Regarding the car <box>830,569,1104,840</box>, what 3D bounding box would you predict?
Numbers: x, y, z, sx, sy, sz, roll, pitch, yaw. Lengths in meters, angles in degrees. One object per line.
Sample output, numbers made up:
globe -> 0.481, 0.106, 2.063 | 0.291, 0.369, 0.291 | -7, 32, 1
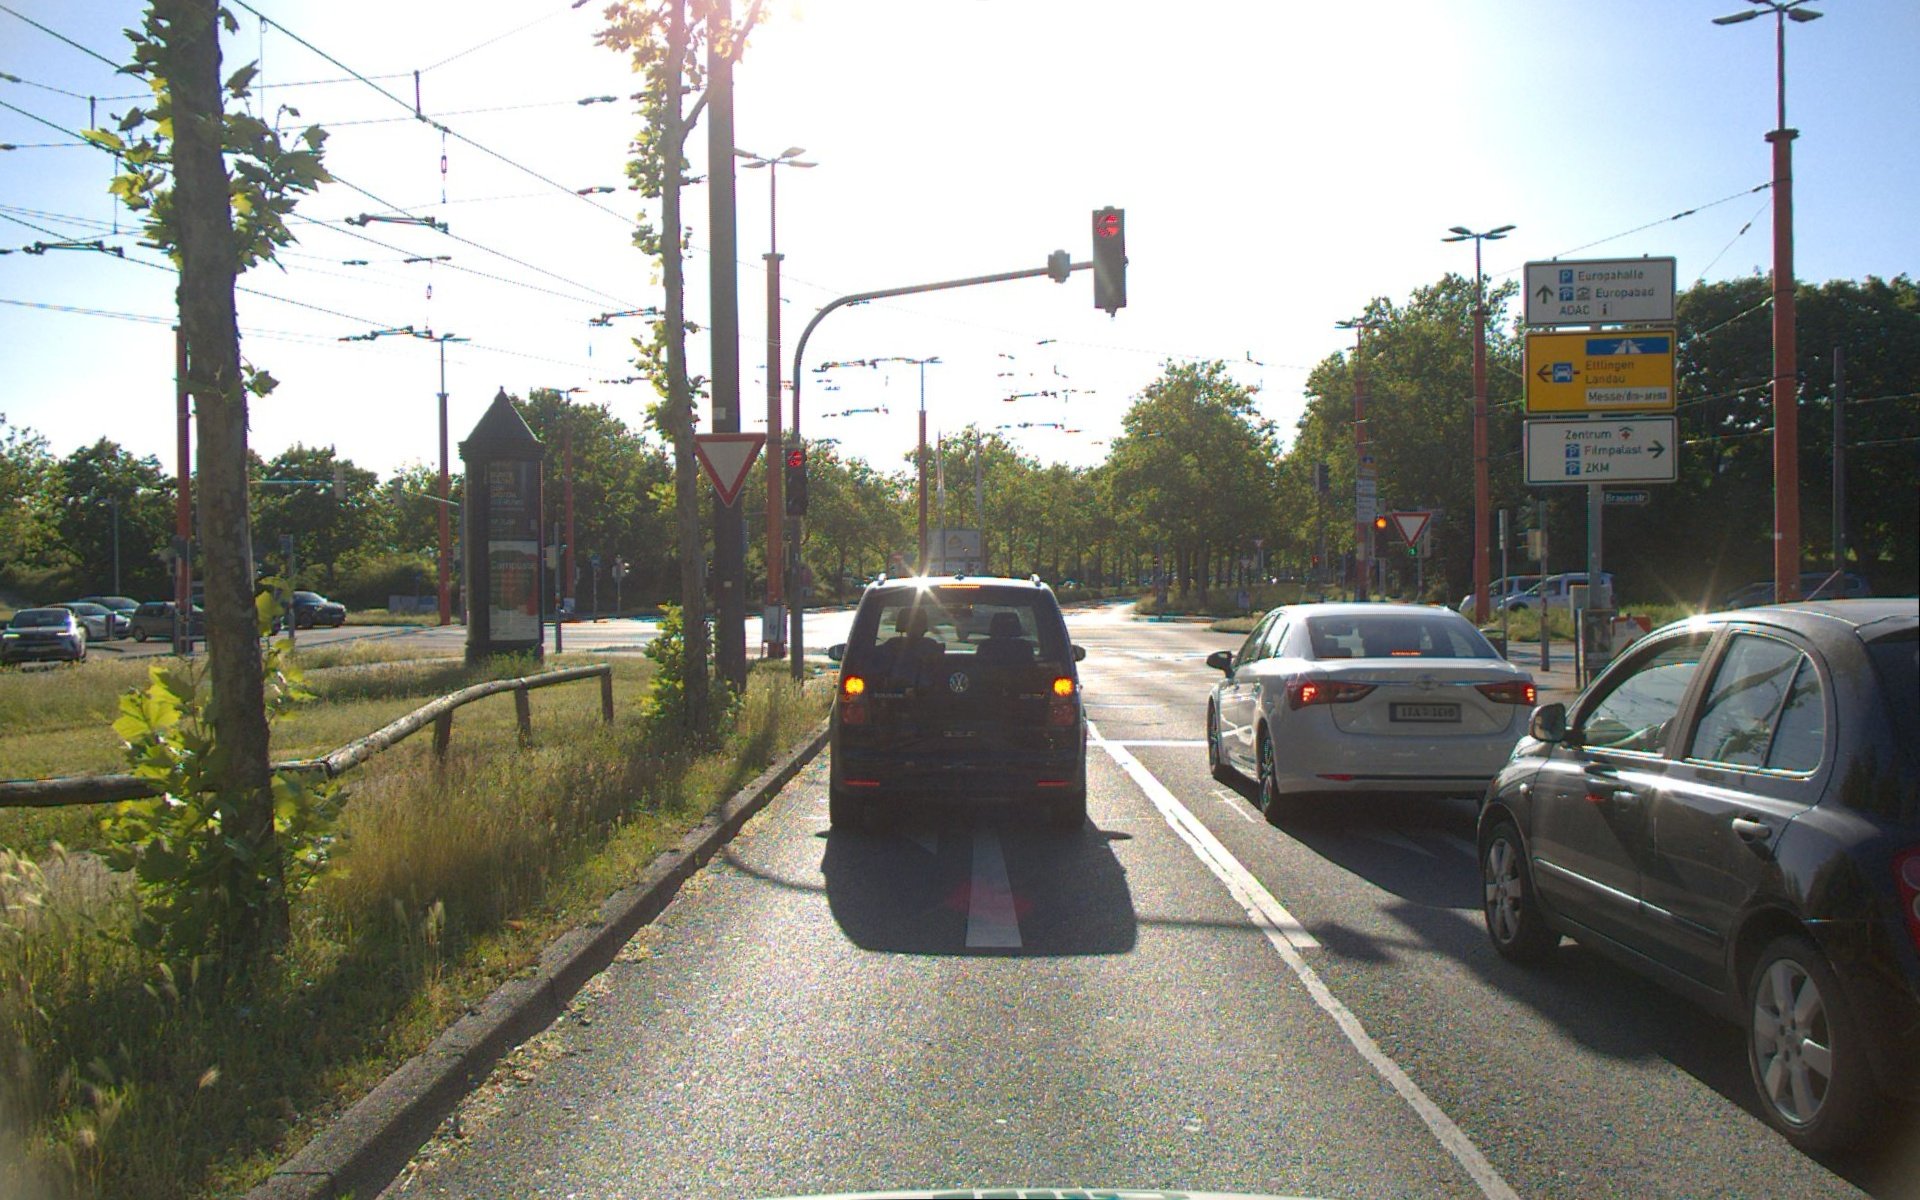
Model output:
car -> 0.012, 0.627, 12.063 | 1.666, 1.650, 3.896 | 0, 0, -1

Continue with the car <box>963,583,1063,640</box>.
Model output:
car -> 1.600, 0.328, 51.410 | 1.770, 1.685, 4.091 | 0, 0, -19

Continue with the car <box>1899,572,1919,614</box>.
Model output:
car -> 35.243, -0.216, 58.013 | 3.887, 1.466, 1.684 | 1, 0, 28

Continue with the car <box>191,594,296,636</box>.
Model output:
car -> -28.793, 0.583, 66.459 | 3.913, 1.673, 1.996 | 0, 0, 31

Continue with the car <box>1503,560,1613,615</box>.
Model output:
car -> 22.215, -0.465, 61.410 | 3.754, 1.923, 1.763 | 1, 0, 23

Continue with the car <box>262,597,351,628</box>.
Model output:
car -> -29.187, 0.532, 73.848 | 3.913, 1.353, 1.694 | 0, 0, 31

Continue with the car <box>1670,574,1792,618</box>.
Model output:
car -> 28.642, -0.135, 61.533 | 4.040, 1.537, 1.821 | 1, 0, 26

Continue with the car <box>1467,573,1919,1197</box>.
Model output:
car -> 3.165, 0.700, 5.845 | 1.620, 1.526, 3.614 | 1, 0, 0

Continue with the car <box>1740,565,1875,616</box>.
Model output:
car -> 29.456, -0.331, 57.624 | 4.097, 1.673, 1.758 | 1, 0, 26

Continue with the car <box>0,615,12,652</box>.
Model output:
car -> -41.537, 1.383, 68.811 | 3.908, 1.540, 1.731 | 0, 0, 25

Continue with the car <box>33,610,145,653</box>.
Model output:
car -> -34.496, 1.211, 65.510 | 4.091, 1.640, 1.867 | 0, 0, 25

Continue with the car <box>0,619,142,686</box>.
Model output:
car -> -22.932, 1.302, 42.436 | 1.769, 1.549, 4.329 | 0, 0, -1

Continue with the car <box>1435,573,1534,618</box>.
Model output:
car -> 20.801, -0.184, 65.590 | 3.570, 1.684, 1.679 | 1, 0, 25

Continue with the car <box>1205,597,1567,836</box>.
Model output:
car -> 2.966, 0.719, 12.406 | 1.685, 1.463, 4.198 | 1, 0, 1
